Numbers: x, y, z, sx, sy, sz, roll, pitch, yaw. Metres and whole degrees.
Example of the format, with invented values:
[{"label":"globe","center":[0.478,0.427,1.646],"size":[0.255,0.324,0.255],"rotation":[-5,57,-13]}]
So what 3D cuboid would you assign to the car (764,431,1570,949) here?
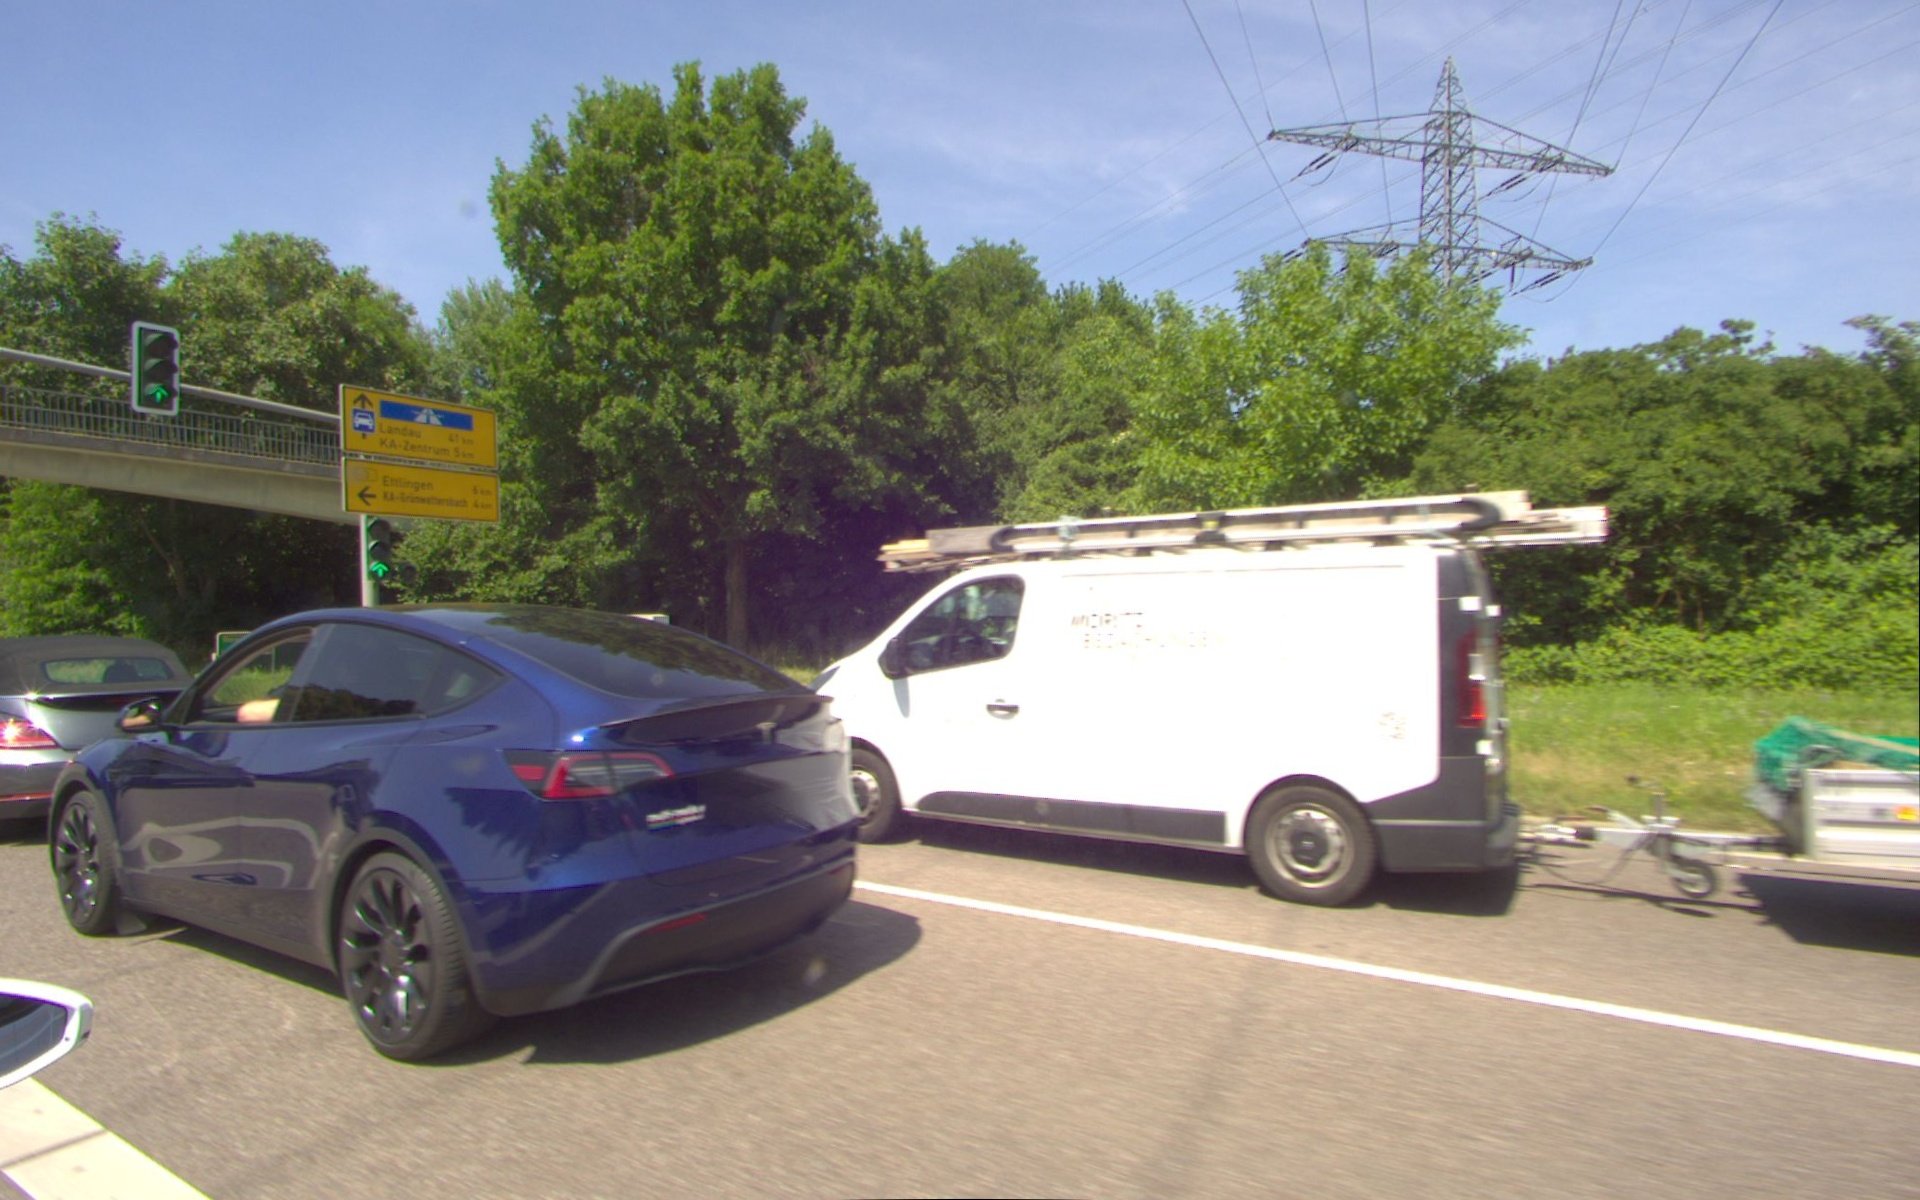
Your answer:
[{"label":"car","center":[1.181,0.487,6.781],"size":[5.003,2.379,1.929],"rotation":[-1,-2,33]}]

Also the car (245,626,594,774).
[{"label":"car","center":[-6.598,1.076,12.111],"size":[4.319,1.496,1.897],"rotation":[-1,-2,33]}]

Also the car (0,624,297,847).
[{"label":"car","center":[-7.605,0.967,8.515],"size":[3.884,1.496,1.897],"rotation":[-1,-2,33]}]

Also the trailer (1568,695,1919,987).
[{"label":"trailer","center":[4.643,1.039,4.462],"size":[3.277,1.019,1.702],"rotation":[-1,-2,33]}]

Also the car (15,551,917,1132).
[{"label":"car","center":[-2.569,0.758,4.877],"size":[4.455,1.665,1.897],"rotation":[-1,-2,32]}]
